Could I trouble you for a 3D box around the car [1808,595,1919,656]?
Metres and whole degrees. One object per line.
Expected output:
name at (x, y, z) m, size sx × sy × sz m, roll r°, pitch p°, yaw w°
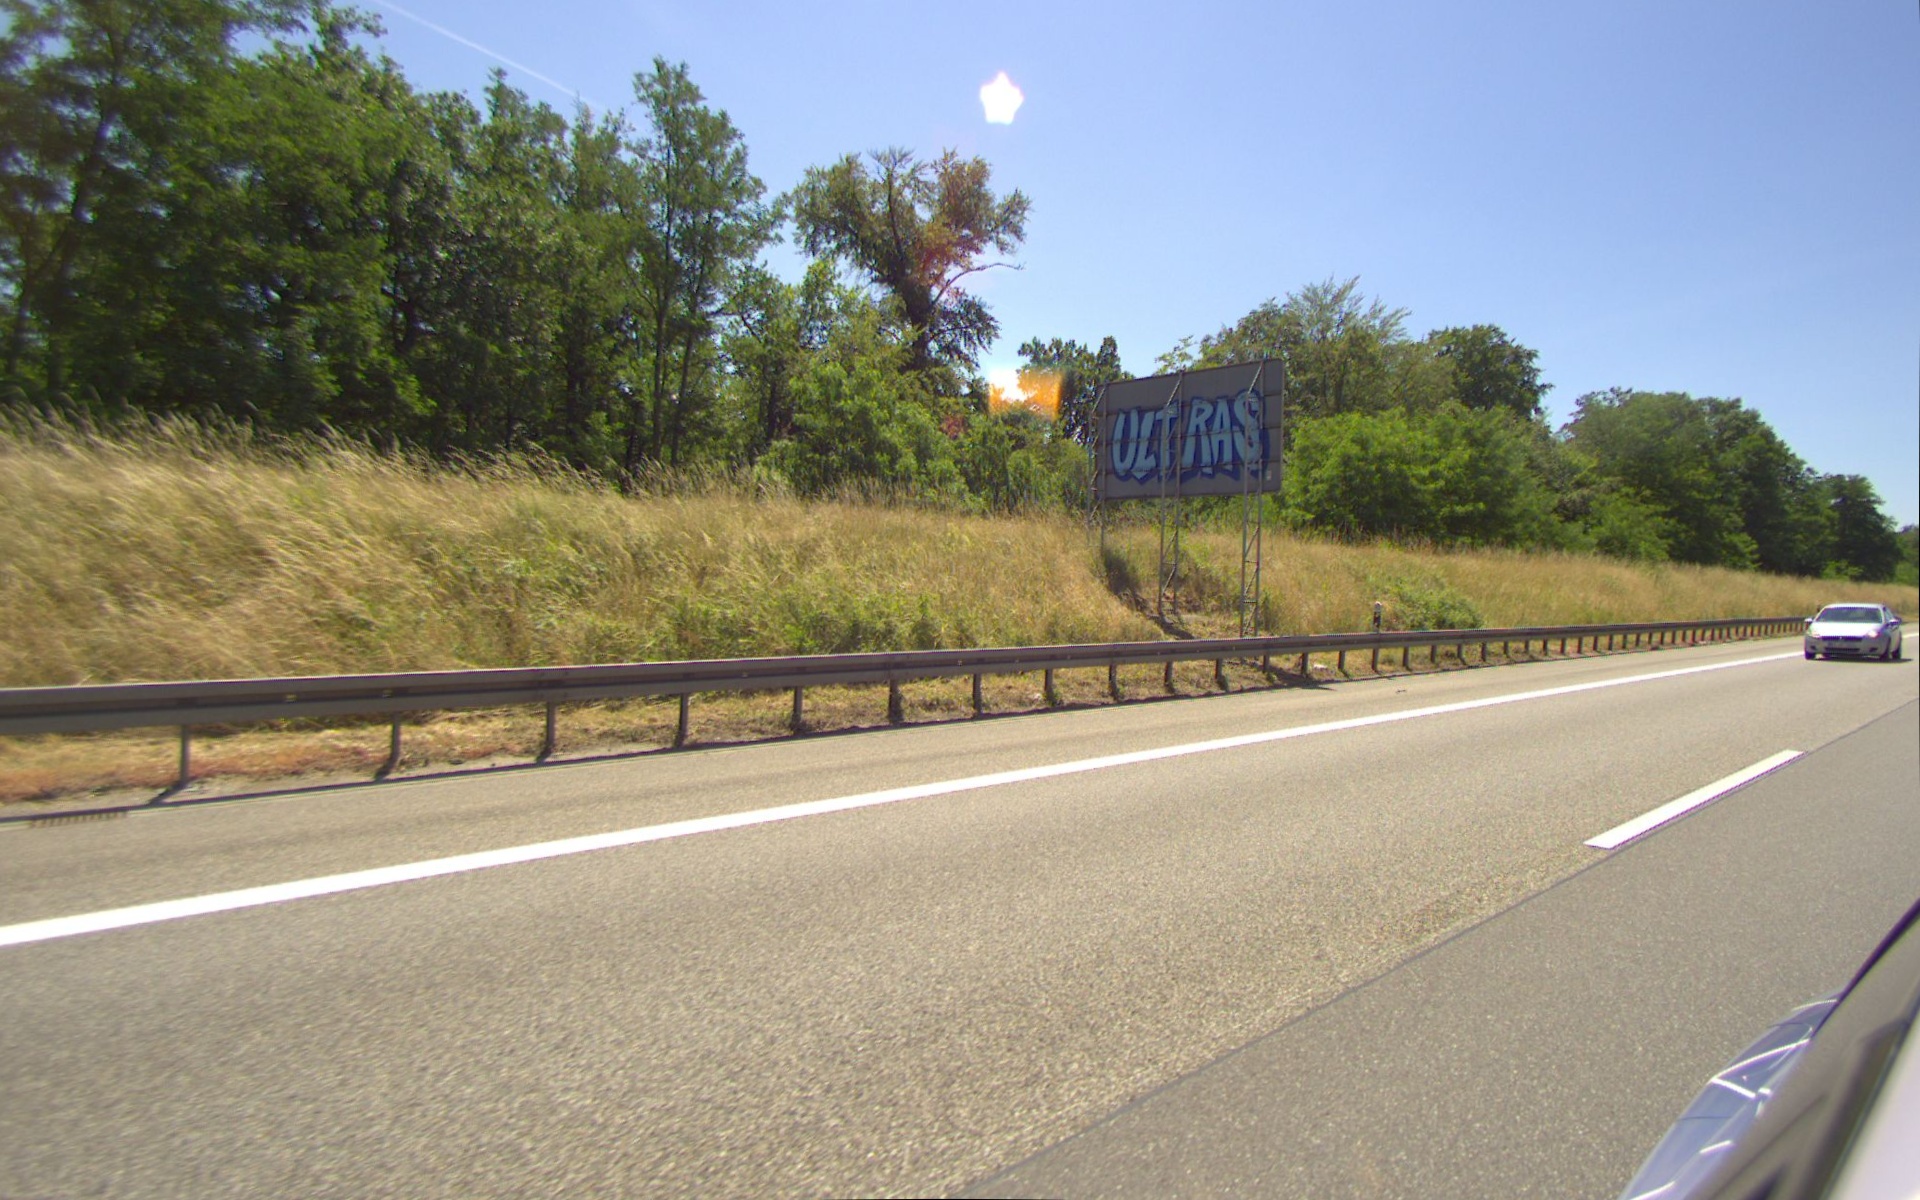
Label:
car at (23.974, 0.625, 26.766) m, size 3.910 × 1.484 × 1.748 m, roll 0°, pitch 0°, yaw -40°
